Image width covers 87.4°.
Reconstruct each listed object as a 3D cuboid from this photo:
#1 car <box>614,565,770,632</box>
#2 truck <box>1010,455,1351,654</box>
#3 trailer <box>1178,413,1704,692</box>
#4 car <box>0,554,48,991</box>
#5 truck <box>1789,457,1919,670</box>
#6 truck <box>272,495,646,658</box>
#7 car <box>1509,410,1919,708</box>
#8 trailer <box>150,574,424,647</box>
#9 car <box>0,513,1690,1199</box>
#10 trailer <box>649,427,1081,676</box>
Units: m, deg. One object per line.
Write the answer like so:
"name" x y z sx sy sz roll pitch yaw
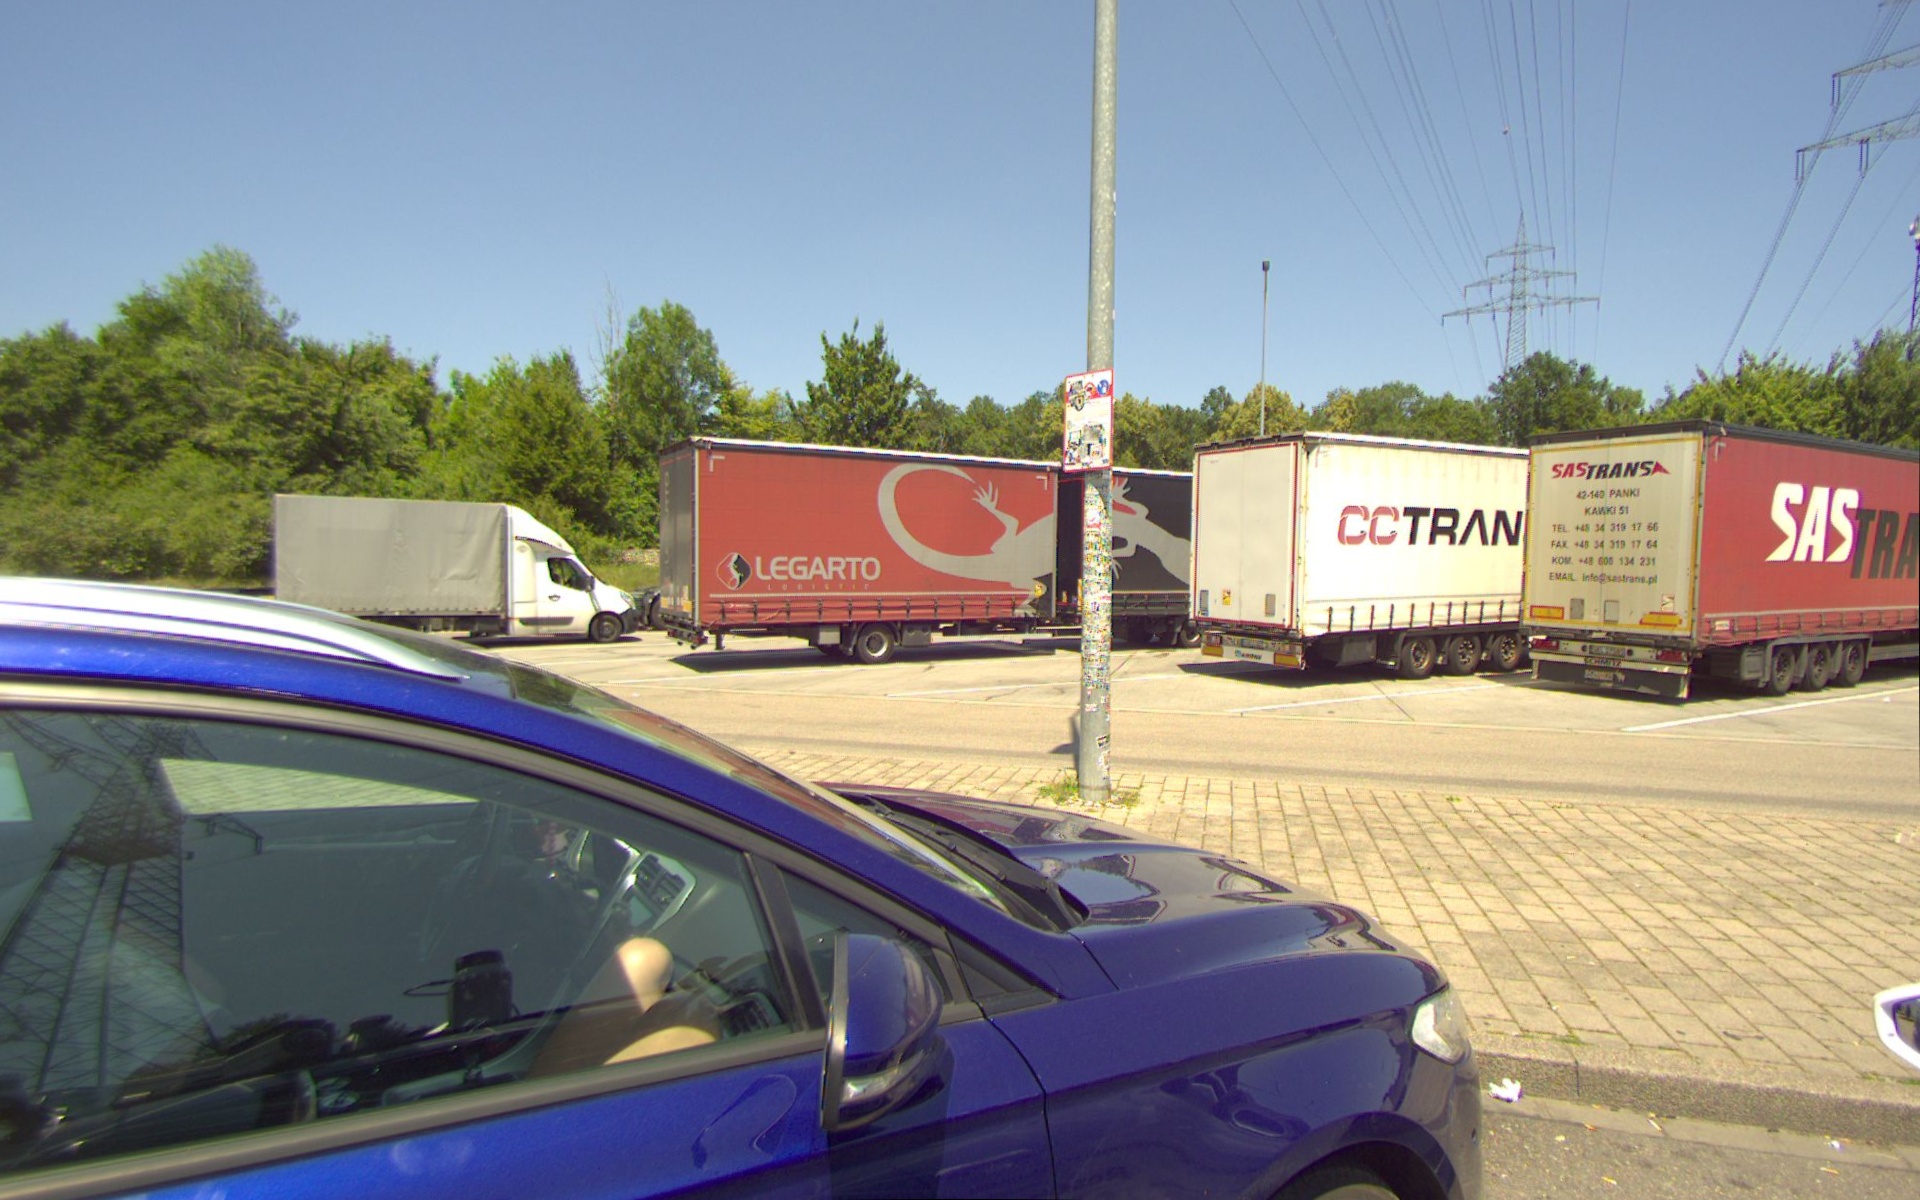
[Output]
"car" -7.594 -0.046 28.515 3.953 1.773 1.902 0 0 -30
"truck" 5.614 -1.078 24.829 8.683 4.248 2.800 -1 2 -30
"trailer" 10.123 -0.882 20.069 12.786 4.325 2.800 -1 2 -31
"car" -4.597 0.557 2.115 3.700 1.432 1.595 0 0 -32
"truck" 21.153 -0.775 21.869 6.163 4.169 2.683 -1 3 -30
"truck" -11.103 -0.584 22.872 7.219 3.277 2.308 -2 3 -29
"car" 15.229 -0.694 18.457 12.777 4.169 2.683 -1 3 -30
"trailer" -15.938 0.243 24.177 5.332 1.617 1.585 0 0 -31
"car" -0.970 0.670 1.464 4.380 1.464 1.771 0 0 -32
"trailer" -1.732 -0.929 20.504 8.389 4.248 2.800 -1 2 -30
